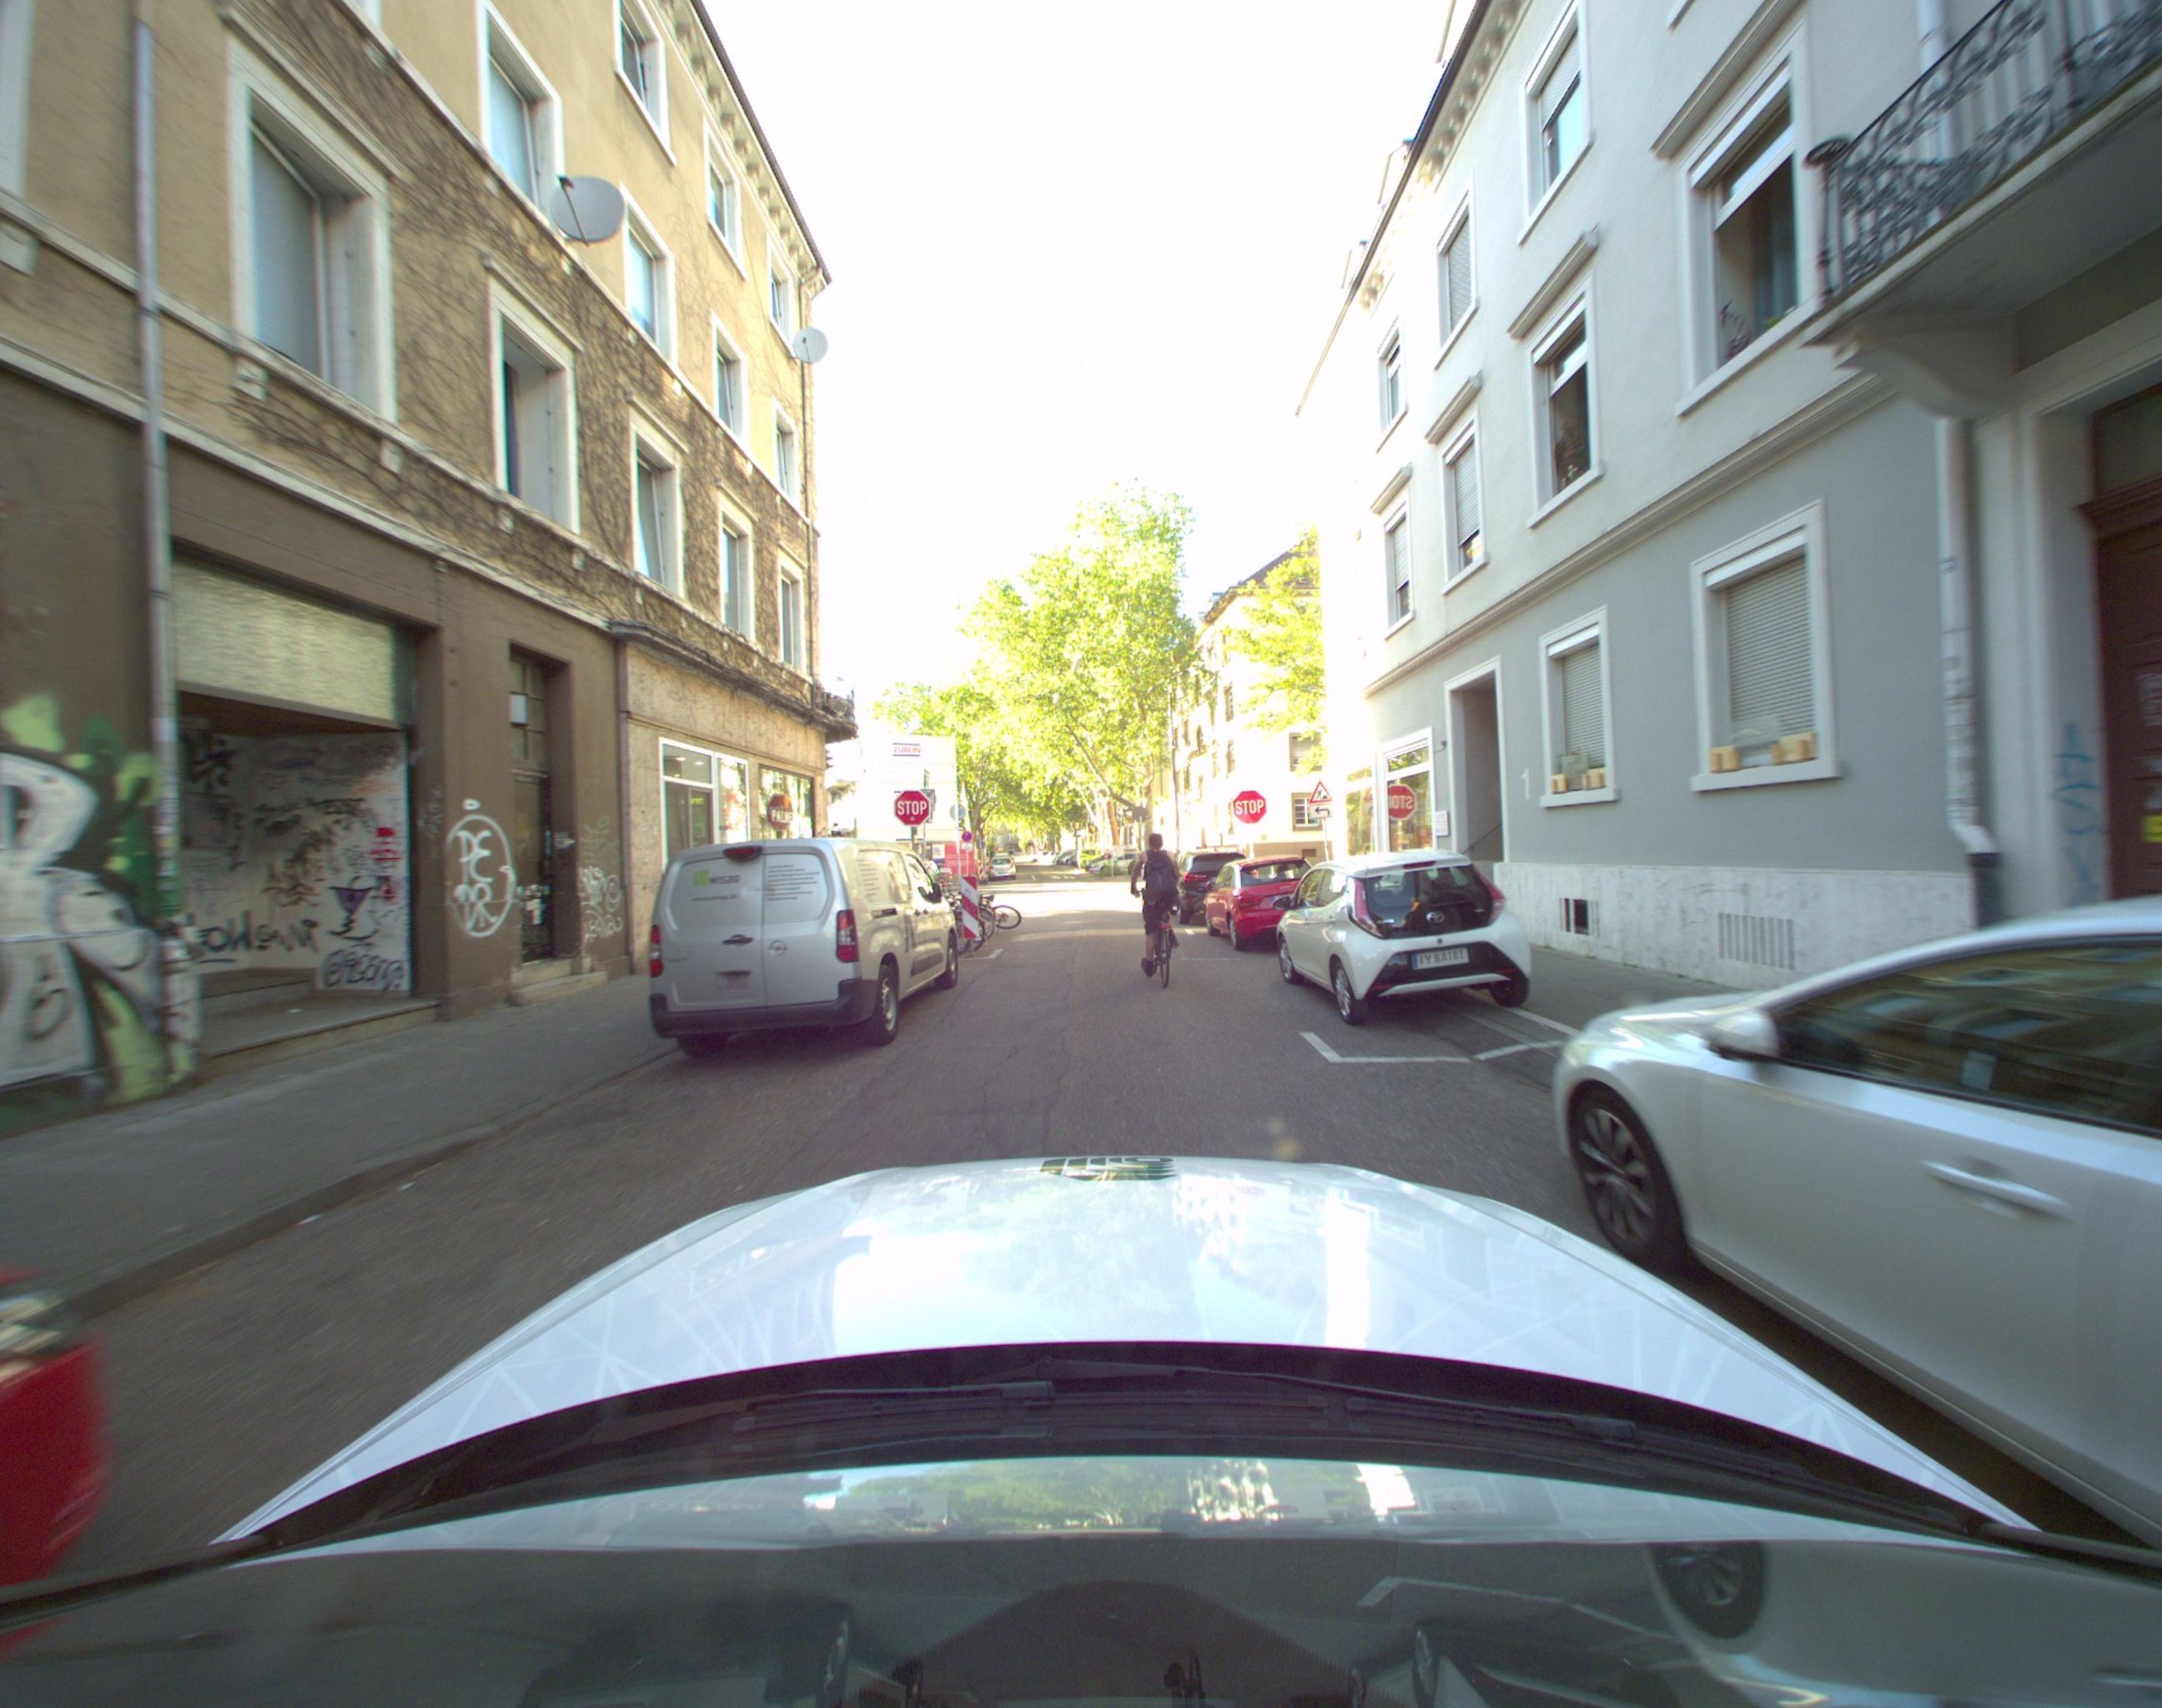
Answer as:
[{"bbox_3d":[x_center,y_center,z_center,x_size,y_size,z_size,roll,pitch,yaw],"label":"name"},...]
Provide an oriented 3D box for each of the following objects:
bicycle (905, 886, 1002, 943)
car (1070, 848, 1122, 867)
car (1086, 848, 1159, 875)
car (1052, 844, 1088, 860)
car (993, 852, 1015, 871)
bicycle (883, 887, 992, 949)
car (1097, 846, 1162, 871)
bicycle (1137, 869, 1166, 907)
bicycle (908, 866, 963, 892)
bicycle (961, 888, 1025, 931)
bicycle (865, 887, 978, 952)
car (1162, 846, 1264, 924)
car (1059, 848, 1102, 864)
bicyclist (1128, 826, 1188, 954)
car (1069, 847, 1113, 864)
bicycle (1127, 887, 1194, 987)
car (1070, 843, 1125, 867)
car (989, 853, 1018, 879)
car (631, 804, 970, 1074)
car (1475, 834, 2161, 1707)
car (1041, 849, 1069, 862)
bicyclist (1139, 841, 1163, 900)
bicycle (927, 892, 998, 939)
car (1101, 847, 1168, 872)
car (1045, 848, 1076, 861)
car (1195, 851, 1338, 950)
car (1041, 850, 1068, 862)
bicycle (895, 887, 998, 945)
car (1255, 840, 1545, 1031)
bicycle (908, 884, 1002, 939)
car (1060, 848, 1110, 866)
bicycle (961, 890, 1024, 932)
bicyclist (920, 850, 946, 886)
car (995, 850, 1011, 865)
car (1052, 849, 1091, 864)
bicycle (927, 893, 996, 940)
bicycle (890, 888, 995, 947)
[{"bbox_3d":[-2.420,1.129,15.493,1.765,0.961,0.479,-2,0,-11],"label":"bicycle"},{"bbox_3d":[1.335,0.314,72.576,4.457,1.571,1.724,-2,0,-7],"label":"car"},{"bbox_3d":[2.676,0.477,52.657,4.457,1.571,1.724,-2,0,-7],"label":"car"},{"bbox_3d":[-1.415,-0.243,105.834,4.457,1.898,1.724,-2,0,-7],"label":"car"},{"bbox_3d":[-6.520,0.610,68.680,1.664,1.562,3.990,-2,0,-7],"label":"car"},{"bbox_3d":[-2.459,1.098,14.044,1.759,0.961,0.405,-2,0,-1],"label":"bicycle"},{"bbox_3d":[3.537,0.319,59.686,4.457,1.671,1.724,-2,0,-7],"label":"car"},{"bbox_3d":[2.059,0.968,23.603,0.547,1.016,1.635,-1,-1,15],"label":"bicycle"},{"bbox_3d":[-6.820,1.171,38.202,2.419,1.093,0.894,-2,-1,-6],"label":"bicycle"},{"bbox_3d":[-1.855,1.172,17.212,1.308,0.818,0.354,-2,0,-9],"label":"bicycle"},{"bbox_3d":[-2.644,1.089,13.599,1.759,0.989,0.463,-2,0,0],"label":"bicycle"},{"bbox_3d":[3.013,0.653,19.406,1.754,1.662,4.196,0,0,0],"label":"car"},{"bbox_3d":[-0.098,0.218,89.029,4.457,1.571,1.724,-2,0,-7],"label":"car"},{"bbox_3d":[0.929,0.423,9.929,0.674,1.513,0.669,0,0,1],"label":"bicyclist"},{"bbox_3d":[1.054,0.168,85.935,4.457,1.571,1.724,-2,0,-7],"label":"car"},{"bbox_3d":[0.933,0.959,9.974,0.687,1.016,1.908,0,0,2],"label":"bicycle"},{"bbox_3d":[1.419,0.082,70.562,4.458,1.836,1.724,-2,0,-8],"label":"car"},{"bbox_3d":[-4.992,0.733,52.354,1.642,1.494,3.990,-4,1,-7],"label":"car"},{"bbox_3d":[-2.433,0.641,8.432,1.673,1.910,4.521,-5,0,2],"label":"car"},{"bbox_3d":[2.696,0.714,1.794,1.673,1.510,4.190,0,0,1],"label":"car"},{"bbox_3d":[-4.204,0.214,131.695,4.457,1.898,1.724,-2,0,-7],"label":"car"},{"bbox_3d":[2.016,0.477,23.458,0.538,1.687,0.656,-1,-1,14],"label":"bicyclist"},{"bbox_3d":[-2.437,1.263,16.755,1.386,0.818,0.360,-4,0,-9],"label":"bicycle"},{"bbox_3d":[3.738,0.385,57.612,4.457,1.571,1.724,-2,0,-7],"label":"car"},{"bbox_3d":[-3.064,0.059,121.292,4.457,1.898,1.724,-2,0,-7],"label":"car"},{"bbox_3d":[3.126,0.713,14.506,1.640,1.503,3.954,0,0,0],"label":"car"},{"bbox_3d":[-4.571,0.323,140.565,4.457,1.898,1.724,-2,0,-7],"label":"car"},{"bbox_3d":[-2.443,1.123,14.881,1.759,0.961,0.443,-2,0,-1],"label":"bicycle"},{"bbox_3d":[3.088,0.680,8.745,1.631,1.587,3.788,0,0,0],"label":"car"},{"bbox_3d":[-2.452,1.115,15.926,1.763,0.961,0.427,-2,0,-7],"label":"bicycle"},{"bbox_3d":[0.353,0.266,76.427,4.457,1.571,1.724,-2,0,-7],"label":"car"},{"bbox_3d":[-1.908,1.216,17.587,1.308,0.818,0.370,-2,0,-9],"label":"bicycle"},{"bbox_3d":[-6.924,0.654,38.205,1.095,1.640,0.894,-2,-1,-5],"label":"bicyclist"},{"bbox_3d":[-8.709,0.422,90.987,1.664,1.562,4.605,-2,0,-7],"label":"car"},{"bbox_3d":[-1.170,0.258,96.185,4.457,1.571,1.724,-2,0,-7],"label":"car"},{"bbox_3d":[-2.392,1.249,16.347,1.308,0.818,0.380,-4,0,-9],"label":"bicycle"},{"bbox_3d":[-2.445,1.117,14.464,1.759,0.961,0.422,-2,0,-1],"label":"bicycle"}]
